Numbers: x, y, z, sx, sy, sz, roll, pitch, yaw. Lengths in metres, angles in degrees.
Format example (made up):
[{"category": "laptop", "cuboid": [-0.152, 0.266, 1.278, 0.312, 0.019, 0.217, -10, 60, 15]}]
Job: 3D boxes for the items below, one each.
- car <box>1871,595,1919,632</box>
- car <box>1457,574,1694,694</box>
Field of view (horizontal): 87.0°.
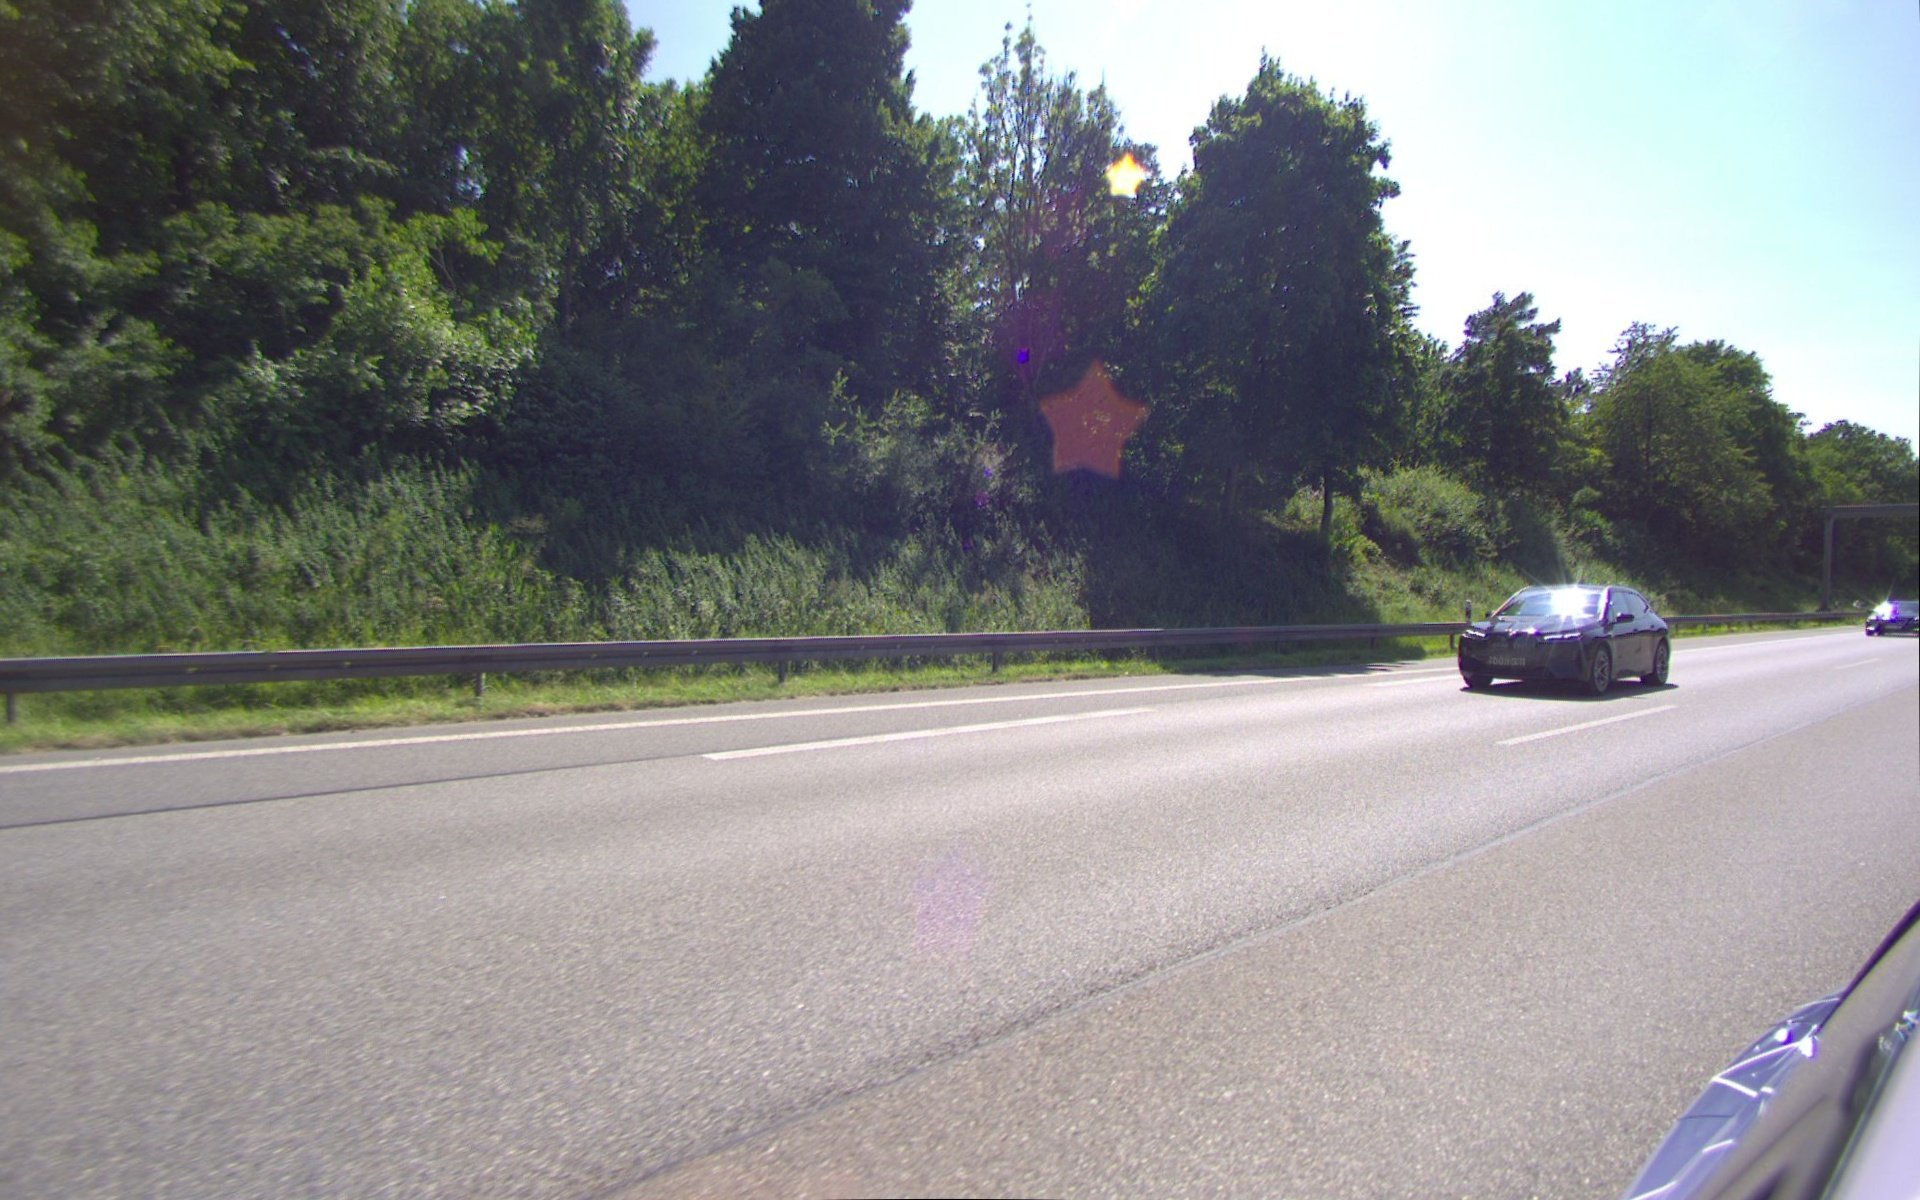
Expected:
[{"category": "car", "cuboid": [39.104, 0.520, 41.647, 4.066, 1.415, 1.915, 0, 2, -41]}, {"category": "car", "cuboid": [10.143, 0.471, 16.548, 4.602, 1.690, 1.924, 0, 0, -40]}]
